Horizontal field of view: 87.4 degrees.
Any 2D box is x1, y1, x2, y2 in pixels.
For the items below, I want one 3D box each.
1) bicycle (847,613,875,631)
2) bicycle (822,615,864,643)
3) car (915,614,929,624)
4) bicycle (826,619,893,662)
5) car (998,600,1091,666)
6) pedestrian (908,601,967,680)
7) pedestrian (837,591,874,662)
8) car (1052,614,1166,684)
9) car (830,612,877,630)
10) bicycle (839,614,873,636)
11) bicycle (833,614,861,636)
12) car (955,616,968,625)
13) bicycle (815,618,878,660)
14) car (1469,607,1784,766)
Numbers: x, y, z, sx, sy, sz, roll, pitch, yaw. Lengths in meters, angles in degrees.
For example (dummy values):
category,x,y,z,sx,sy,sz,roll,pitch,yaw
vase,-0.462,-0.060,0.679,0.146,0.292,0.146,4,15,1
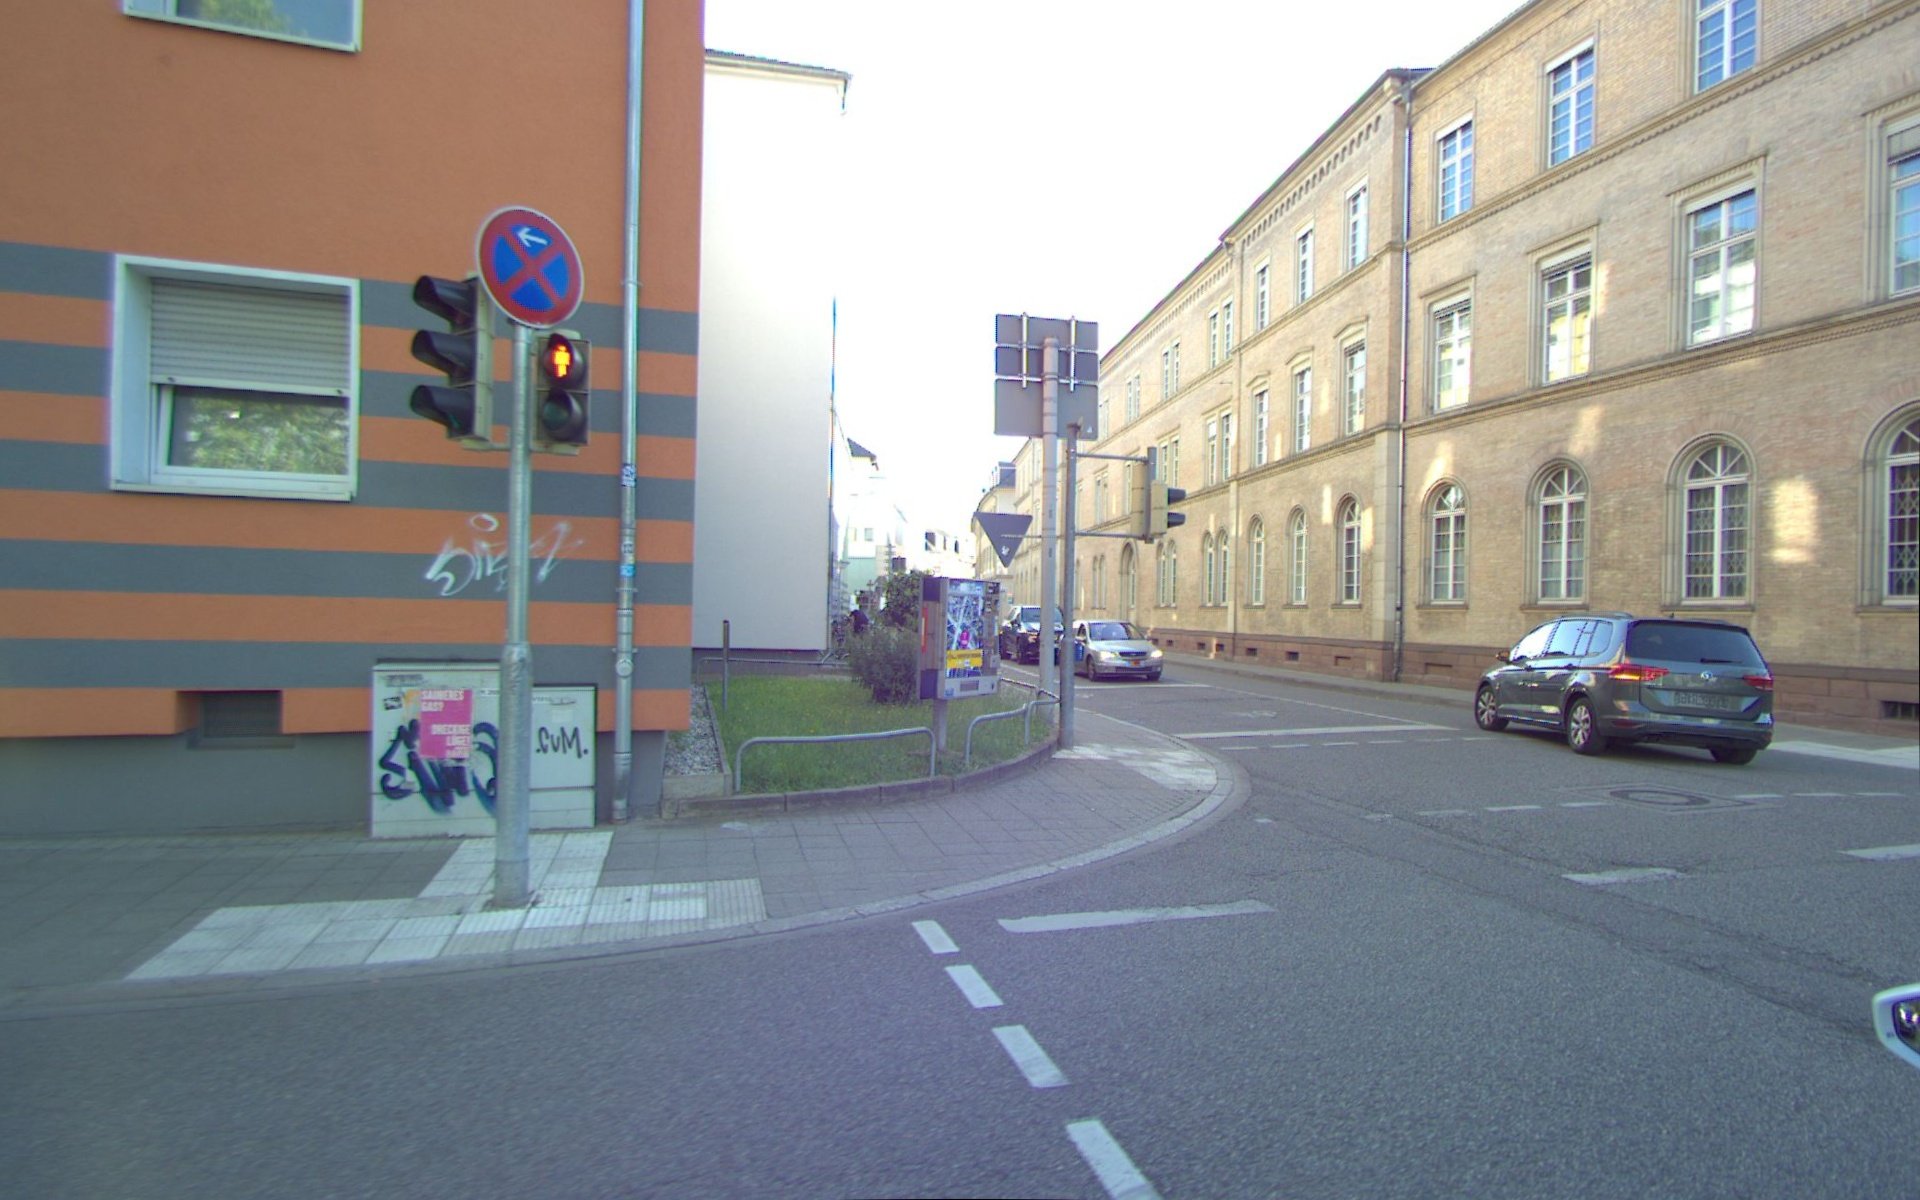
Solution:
category,x,y,z,sx,sy,sz,roll,pitch,yaw
bicycle,-7.246,1.637,73.433,1.903,1.195,0.612,4,-1,-14
bicycle,-5.009,1.244,43.042,1.728,1.160,0.649,1,-1,-15
car,-5.664,2.793,149.738,1.835,1.488,3.834,1,-1,0
bicycle,-2.773,1.116,27.676,1.728,1.160,0.649,1,-1,-15
car,2.550,0.980,31.654,1.871,1.859,5.088,-1,0,-8
pedestrian,-0.486,0.843,21.225,0.998,1.593,1.077,2,0,-14
pedestrian,-2.825,0.719,27.310,0.707,1.879,0.870,1,0,14
car,3.531,1.119,24.563,1.714,1.506,4.132,-1,0,-7
car,-9.413,1.853,89.276,4.032,1.462,1.947,1,0,-3
bicycle,-6.176,1.464,59.765,1.978,1.247,0.622,1,0,-8
bicycle,-6.479,1.431,57.754,1.560,1.258,0.448,1,0,-8
car,0.330,3.878,192.640,1.795,1.749,4.003,1,-1,12
bicycle,-3.283,1.119,28.993,1.728,1.160,0.649,1,-1,-15
car,7.963,0.916,12.496,1.732,1.628,4.003,0,-1,9
